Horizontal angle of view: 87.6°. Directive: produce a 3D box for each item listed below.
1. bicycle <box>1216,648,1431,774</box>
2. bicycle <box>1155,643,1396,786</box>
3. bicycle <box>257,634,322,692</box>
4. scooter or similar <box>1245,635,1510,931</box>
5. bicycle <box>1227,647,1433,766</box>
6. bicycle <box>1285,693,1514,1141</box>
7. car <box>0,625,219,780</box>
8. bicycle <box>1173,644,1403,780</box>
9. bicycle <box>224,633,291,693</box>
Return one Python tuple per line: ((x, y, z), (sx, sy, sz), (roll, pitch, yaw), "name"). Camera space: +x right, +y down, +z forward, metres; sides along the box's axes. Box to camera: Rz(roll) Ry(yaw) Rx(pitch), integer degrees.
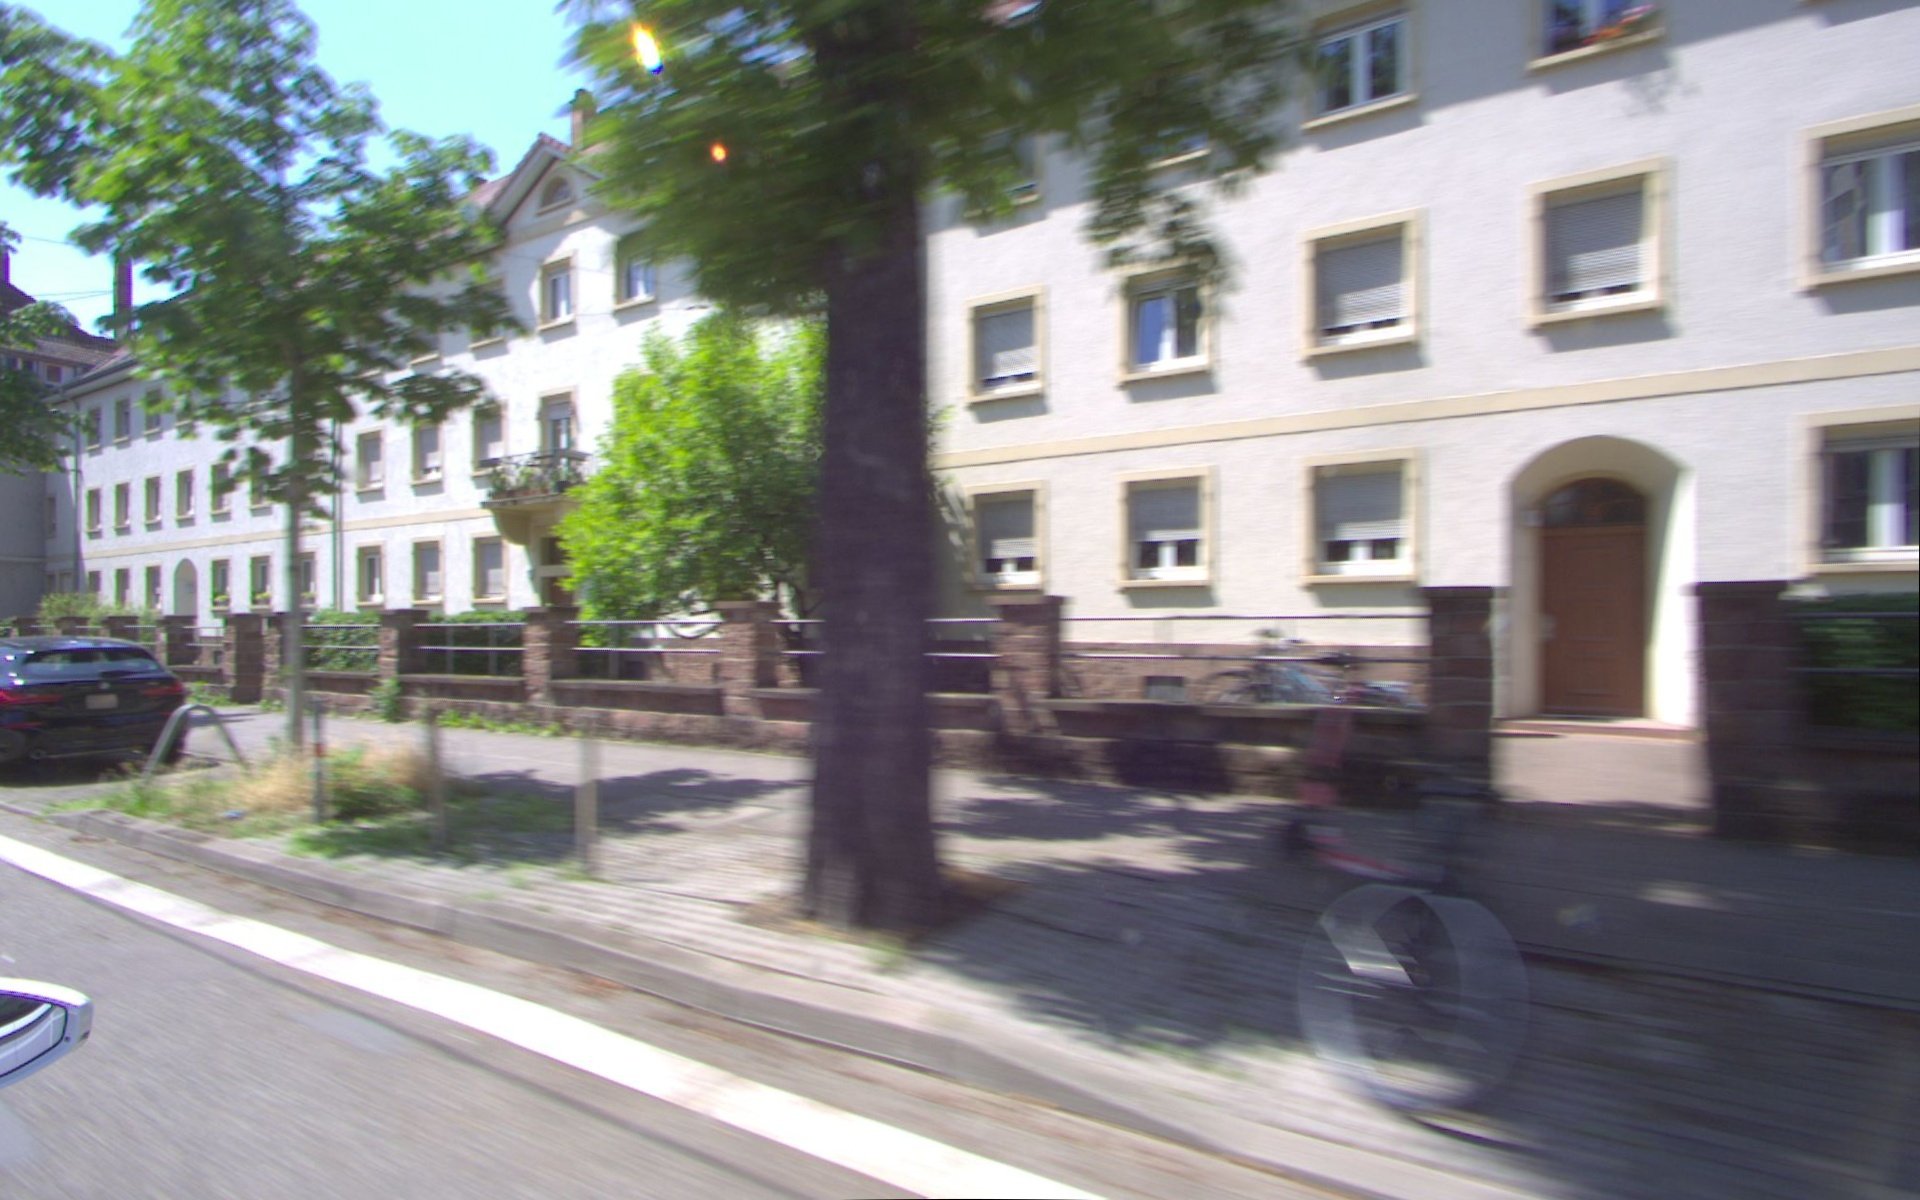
((3.449, 1.021, 9.569), (1.894, 1.092, 0.478), (-1, -1, 27), "bicycle")
((2.645, 0.921, 8.509), (1.897, 1.092, 0.478), (-1, -1, 32), "bicycle")
((-13.626, 1.267, 20.331), (1.782, 1.117, 0.497), (-1, -1, 35), "bicycle")
((2.064, 0.843, 5.106), (0.374, 1.230, 1.241), (1, 3, -27), "scooter or similar")
((3.689, 1.030, 10.042), (1.894, 1.092, 0.478), (-1, -1, 27), "bicycle")
((1.581, 0.940, 3.595), (0.596, 1.092, 1.653), (0, -1, 25), "bicycle")
((-10.649, 1.017, 11.442), (4.789, 1.445, 1.767), (0, -1, 30), "car")
((2.890, 0.948, 8.931), (1.897, 1.092, 0.478), (-1, -1, 32), "bicycle")
((-13.764, 1.218, 19.608), (1.782, 1.117, 0.497), (-1, -1, 35), "bicycle")
